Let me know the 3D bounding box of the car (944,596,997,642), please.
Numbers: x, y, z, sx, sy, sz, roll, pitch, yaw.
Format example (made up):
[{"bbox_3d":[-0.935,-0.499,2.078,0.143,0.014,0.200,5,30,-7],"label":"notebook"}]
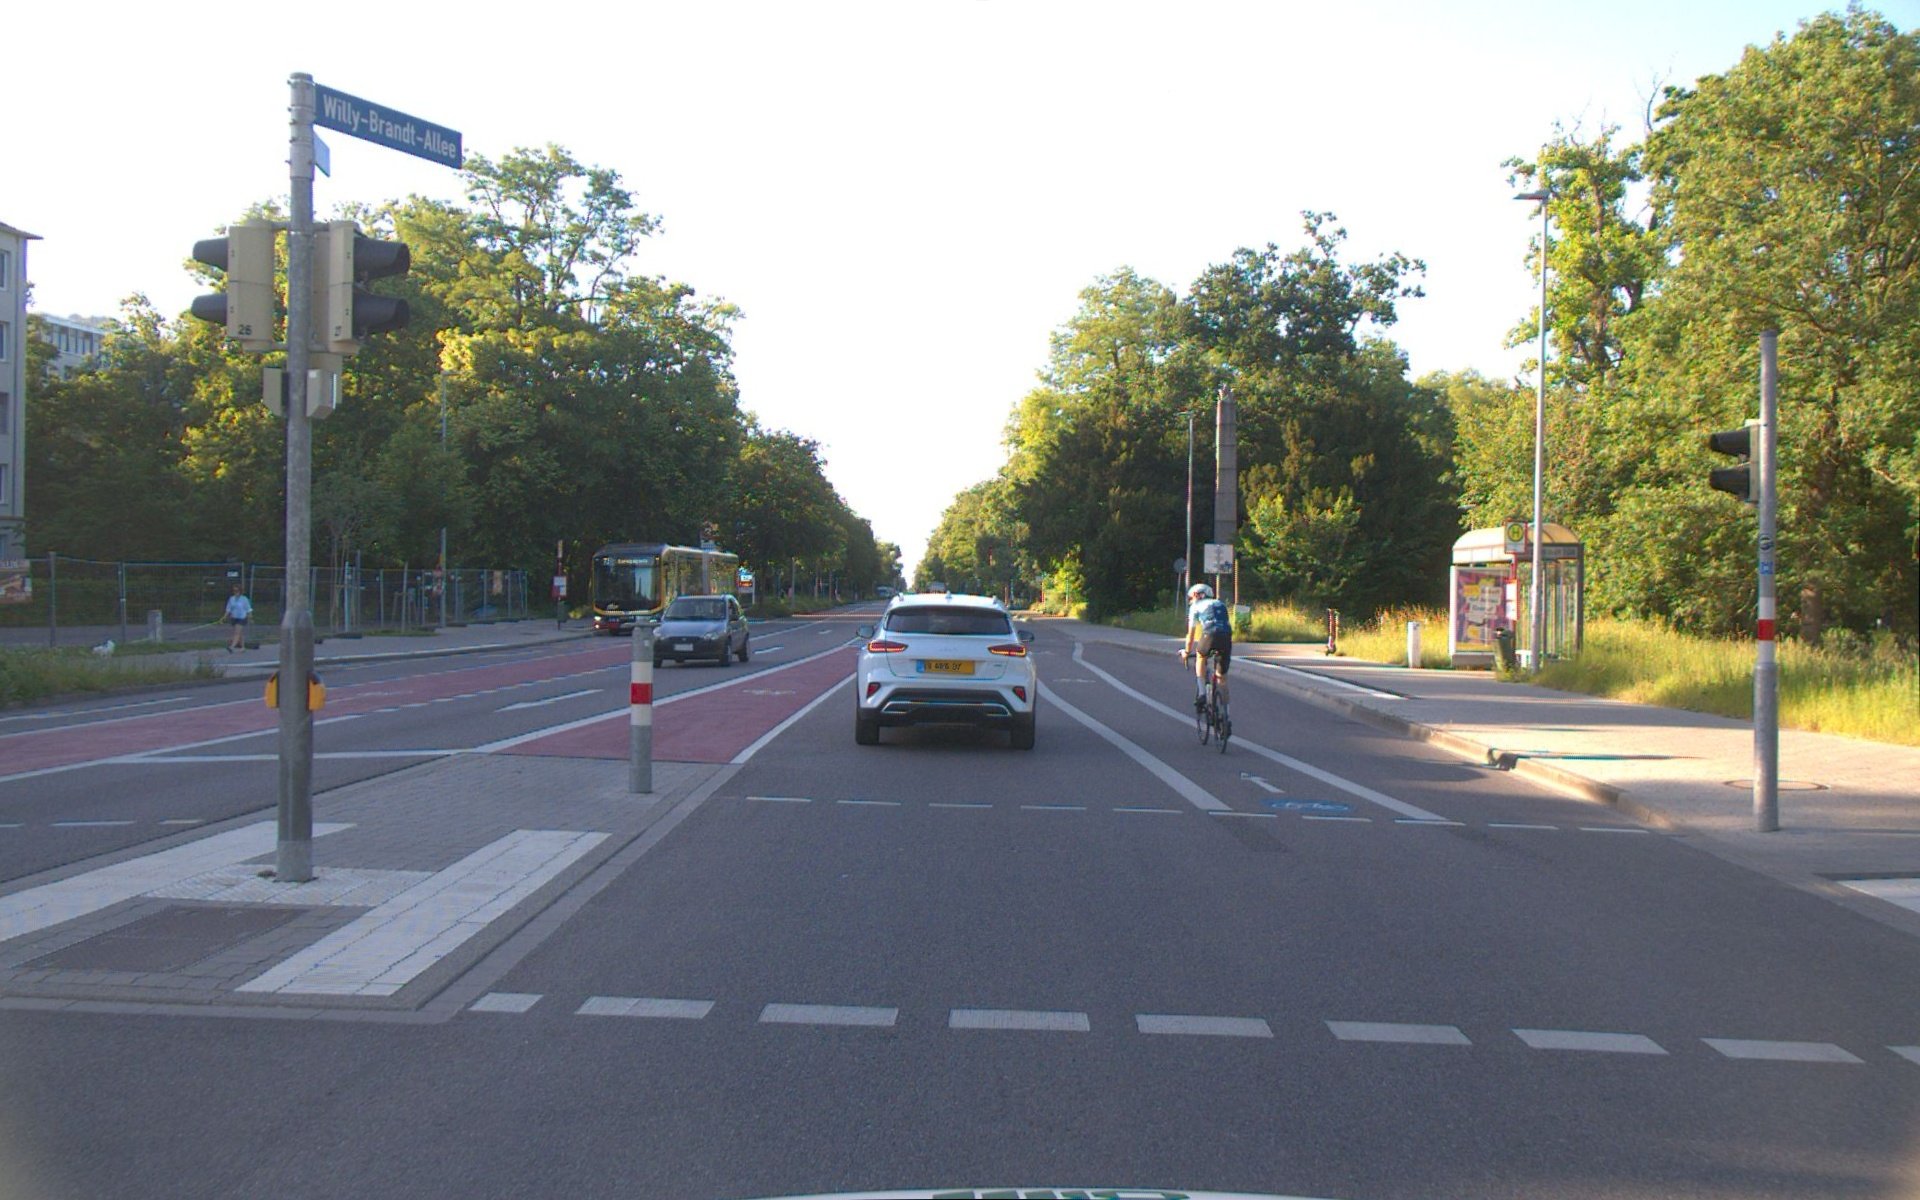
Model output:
[{"bbox_3d":[0.365,0.607,54.747,1.641,1.442,3.575,0,0,2],"label":"car"}]

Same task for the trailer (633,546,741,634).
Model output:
[{"bbox_3d":[-11.622,-0.379,71.367,2.796,3.414,9.363,2,0,1],"label":"trailer"}]

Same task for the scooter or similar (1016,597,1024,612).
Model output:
[{"bbox_3d":[6.233,0.465,171.366,0.668,1.448,1.681,1,0,-2],"label":"scooter or similar"}]

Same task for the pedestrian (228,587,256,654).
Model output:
[{"bbox_3d":[-16.829,0.477,38.769,0.442,1.560,0.571,0,0,-5],"label":"pedestrian"}]

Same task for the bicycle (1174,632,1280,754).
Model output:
[{"bbox_3d":[2.751,0.928,17.256,0.872,1.114,2.137,2,0,4],"label":"bicycle"}]

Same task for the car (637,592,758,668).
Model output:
[{"bbox_3d":[-5.296,0.570,33.879,1.675,1.446,4.555,0,0,1],"label":"car"}]

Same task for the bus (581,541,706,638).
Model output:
[{"bbox_3d":[-11.765,-0.363,62.386,2.782,3.252,8.600,3,0,1],"label":"bus"}]

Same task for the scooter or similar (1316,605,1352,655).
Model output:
[{"bbox_3d":[9.946,0.785,43.949,0.707,1.269,1.328,0,0,22],"label":"scooter or similar"}]

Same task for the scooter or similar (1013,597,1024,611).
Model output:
[{"bbox_3d":[6.211,0.452,175.318,0.670,1.448,1.675,1,0,-15],"label":"scooter or similar"}]

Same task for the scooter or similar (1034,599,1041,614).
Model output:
[{"bbox_3d":[6.831,0.548,145.611,0.522,1.272,1.541,0,0,-1],"label":"scooter or similar"}]

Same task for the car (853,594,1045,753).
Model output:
[{"bbox_3d":[-0.222,0.692,17.478,1.727,1.485,3.814,1,0,-5],"label":"car"}]

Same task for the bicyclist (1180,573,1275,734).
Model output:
[{"bbox_3d":[2.759,0.536,17.133,0.842,1.594,0.881,2,0,4],"label":"bicyclist"}]
